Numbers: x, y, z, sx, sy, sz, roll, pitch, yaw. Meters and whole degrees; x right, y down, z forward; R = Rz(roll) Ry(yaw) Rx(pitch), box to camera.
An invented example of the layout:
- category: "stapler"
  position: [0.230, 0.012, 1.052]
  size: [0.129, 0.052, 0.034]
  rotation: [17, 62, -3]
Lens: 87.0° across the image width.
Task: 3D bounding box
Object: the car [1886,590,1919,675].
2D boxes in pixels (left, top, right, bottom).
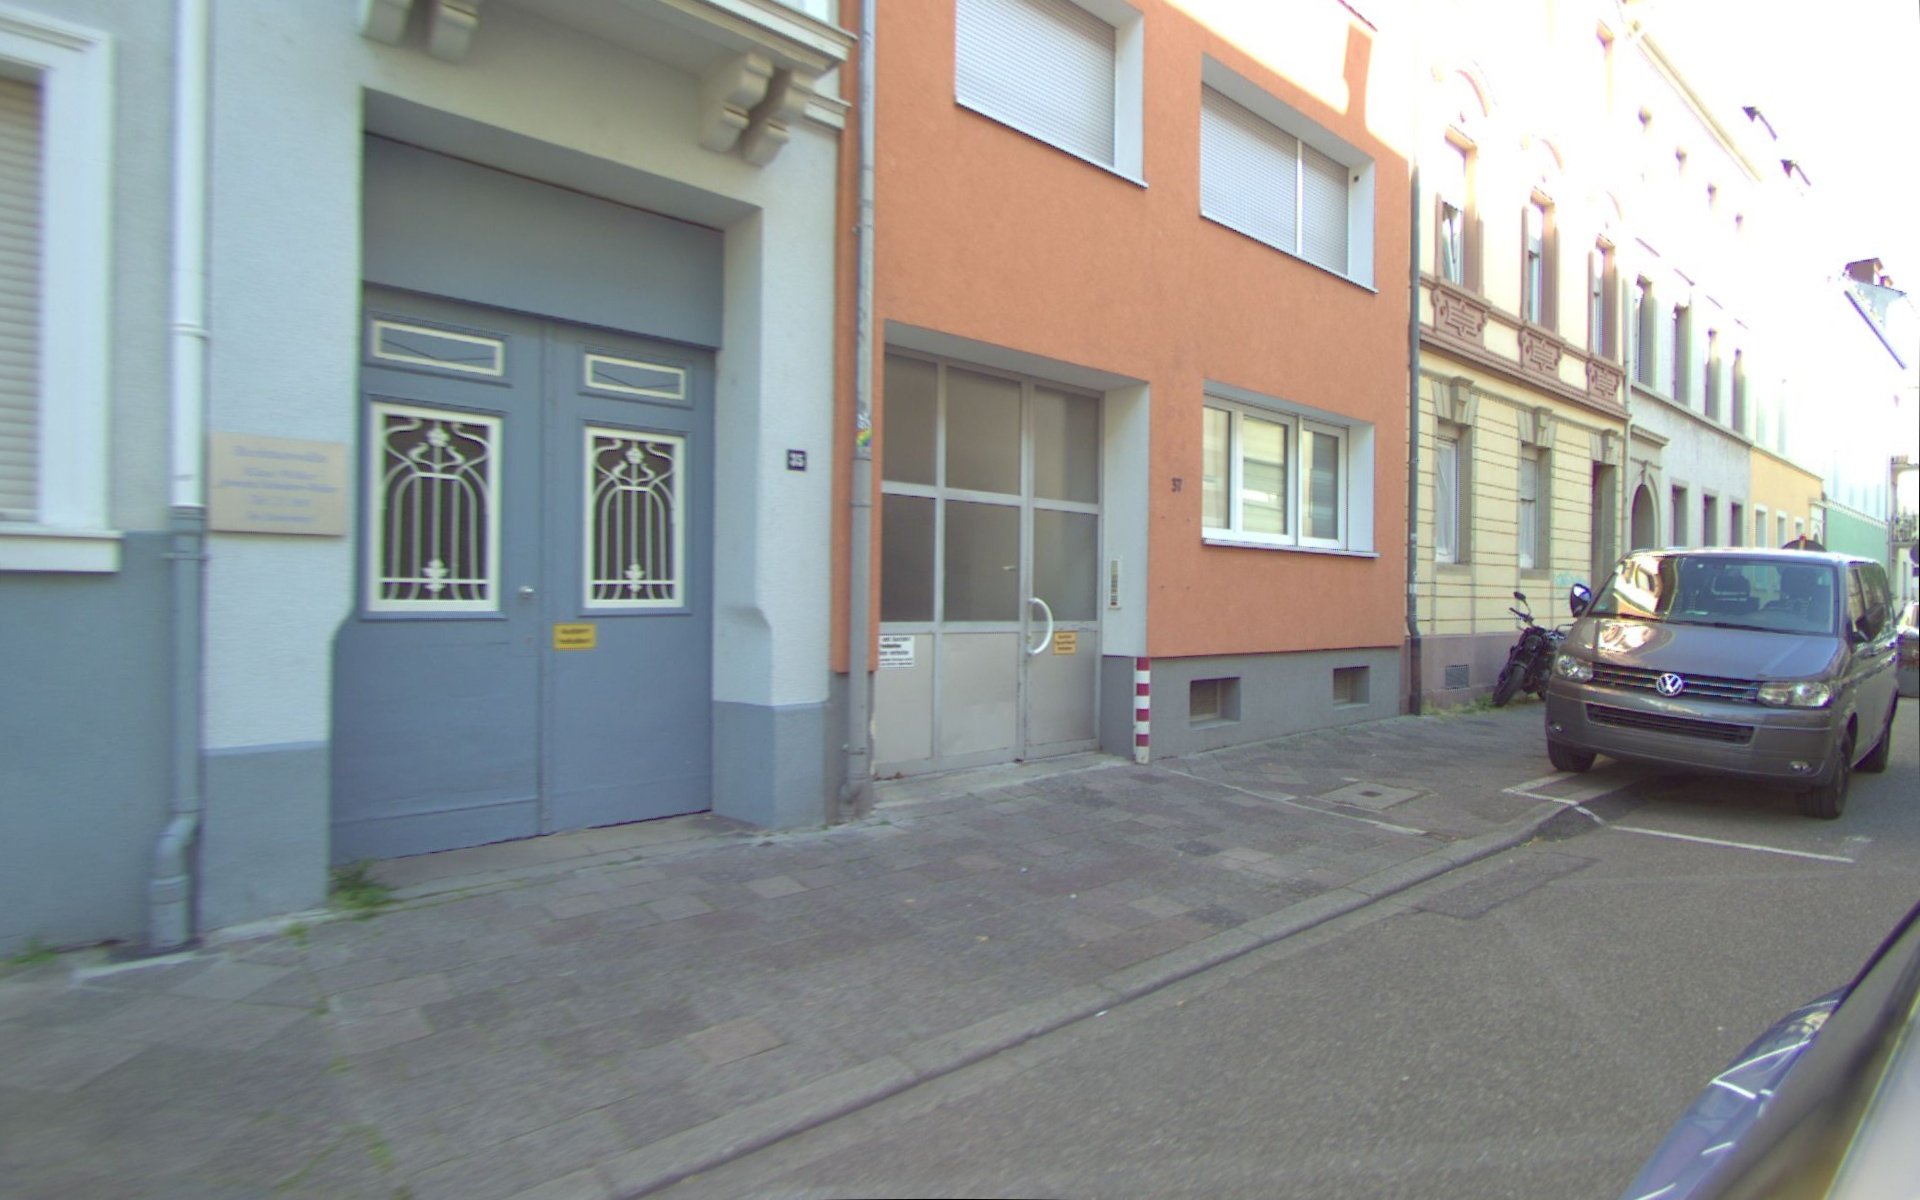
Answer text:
- category: "car"
  position: [19.936, 0.606, 20.160]
  size: [3.980, 1.562, 1.743]
  rotation: [-1, 1, -41]

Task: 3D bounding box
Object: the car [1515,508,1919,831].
- category: "car"
  position: [6.810, 0.449, 8.799]
  size: [4.815, 2.055, 1.972]
  rotation: [0, -1, -42]

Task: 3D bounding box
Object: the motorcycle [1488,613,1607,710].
- category: "motorcycle"
  position: [7.419, 0.724, 12.728]
  size: [2.323, 1.057, 0.637]
  rotation: [-1, 1, -43]
